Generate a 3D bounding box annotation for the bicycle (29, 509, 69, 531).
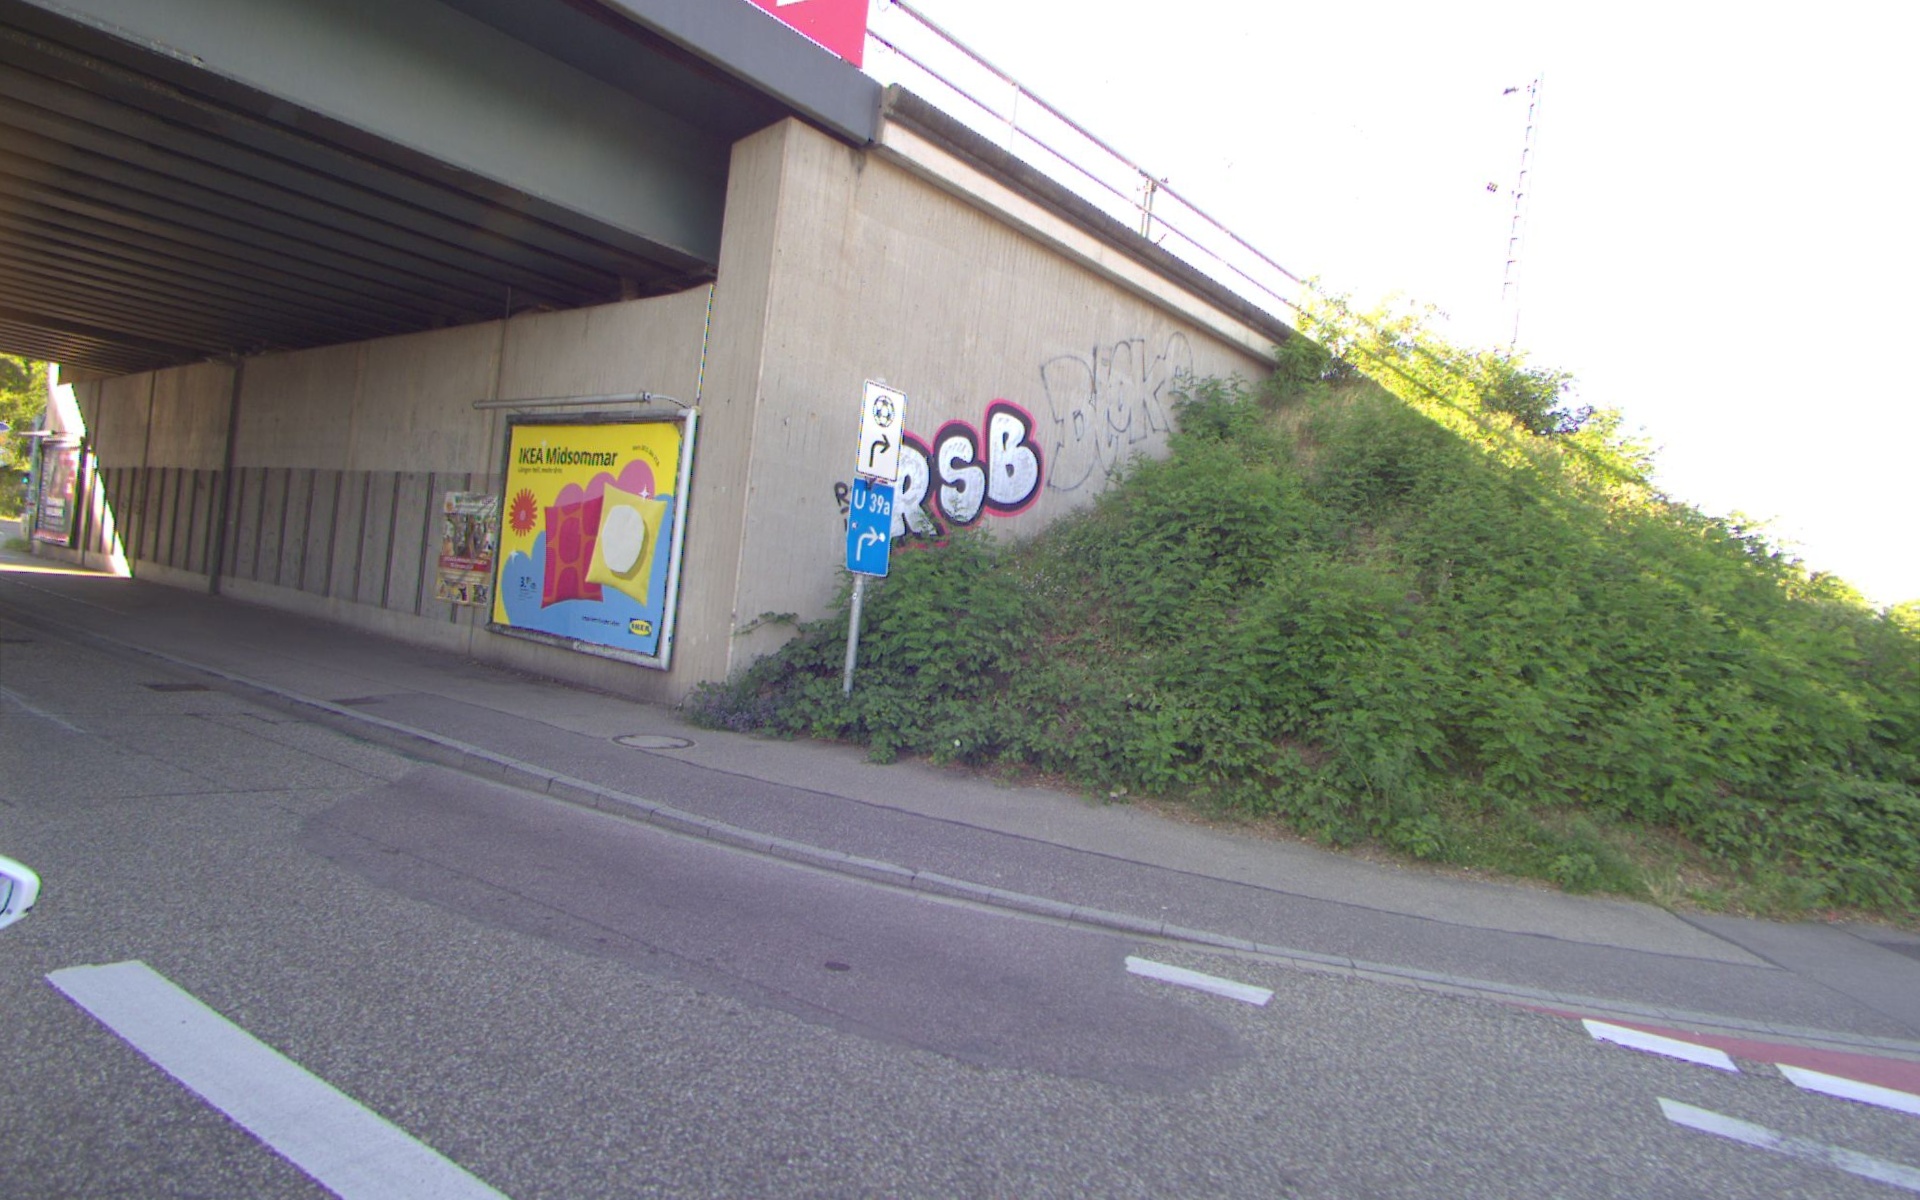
[{"bbox_3d":[-53.591,-4.706,59.194,1.652,1.004,0.572,6,3,-36],"label":"bicycle"}]
